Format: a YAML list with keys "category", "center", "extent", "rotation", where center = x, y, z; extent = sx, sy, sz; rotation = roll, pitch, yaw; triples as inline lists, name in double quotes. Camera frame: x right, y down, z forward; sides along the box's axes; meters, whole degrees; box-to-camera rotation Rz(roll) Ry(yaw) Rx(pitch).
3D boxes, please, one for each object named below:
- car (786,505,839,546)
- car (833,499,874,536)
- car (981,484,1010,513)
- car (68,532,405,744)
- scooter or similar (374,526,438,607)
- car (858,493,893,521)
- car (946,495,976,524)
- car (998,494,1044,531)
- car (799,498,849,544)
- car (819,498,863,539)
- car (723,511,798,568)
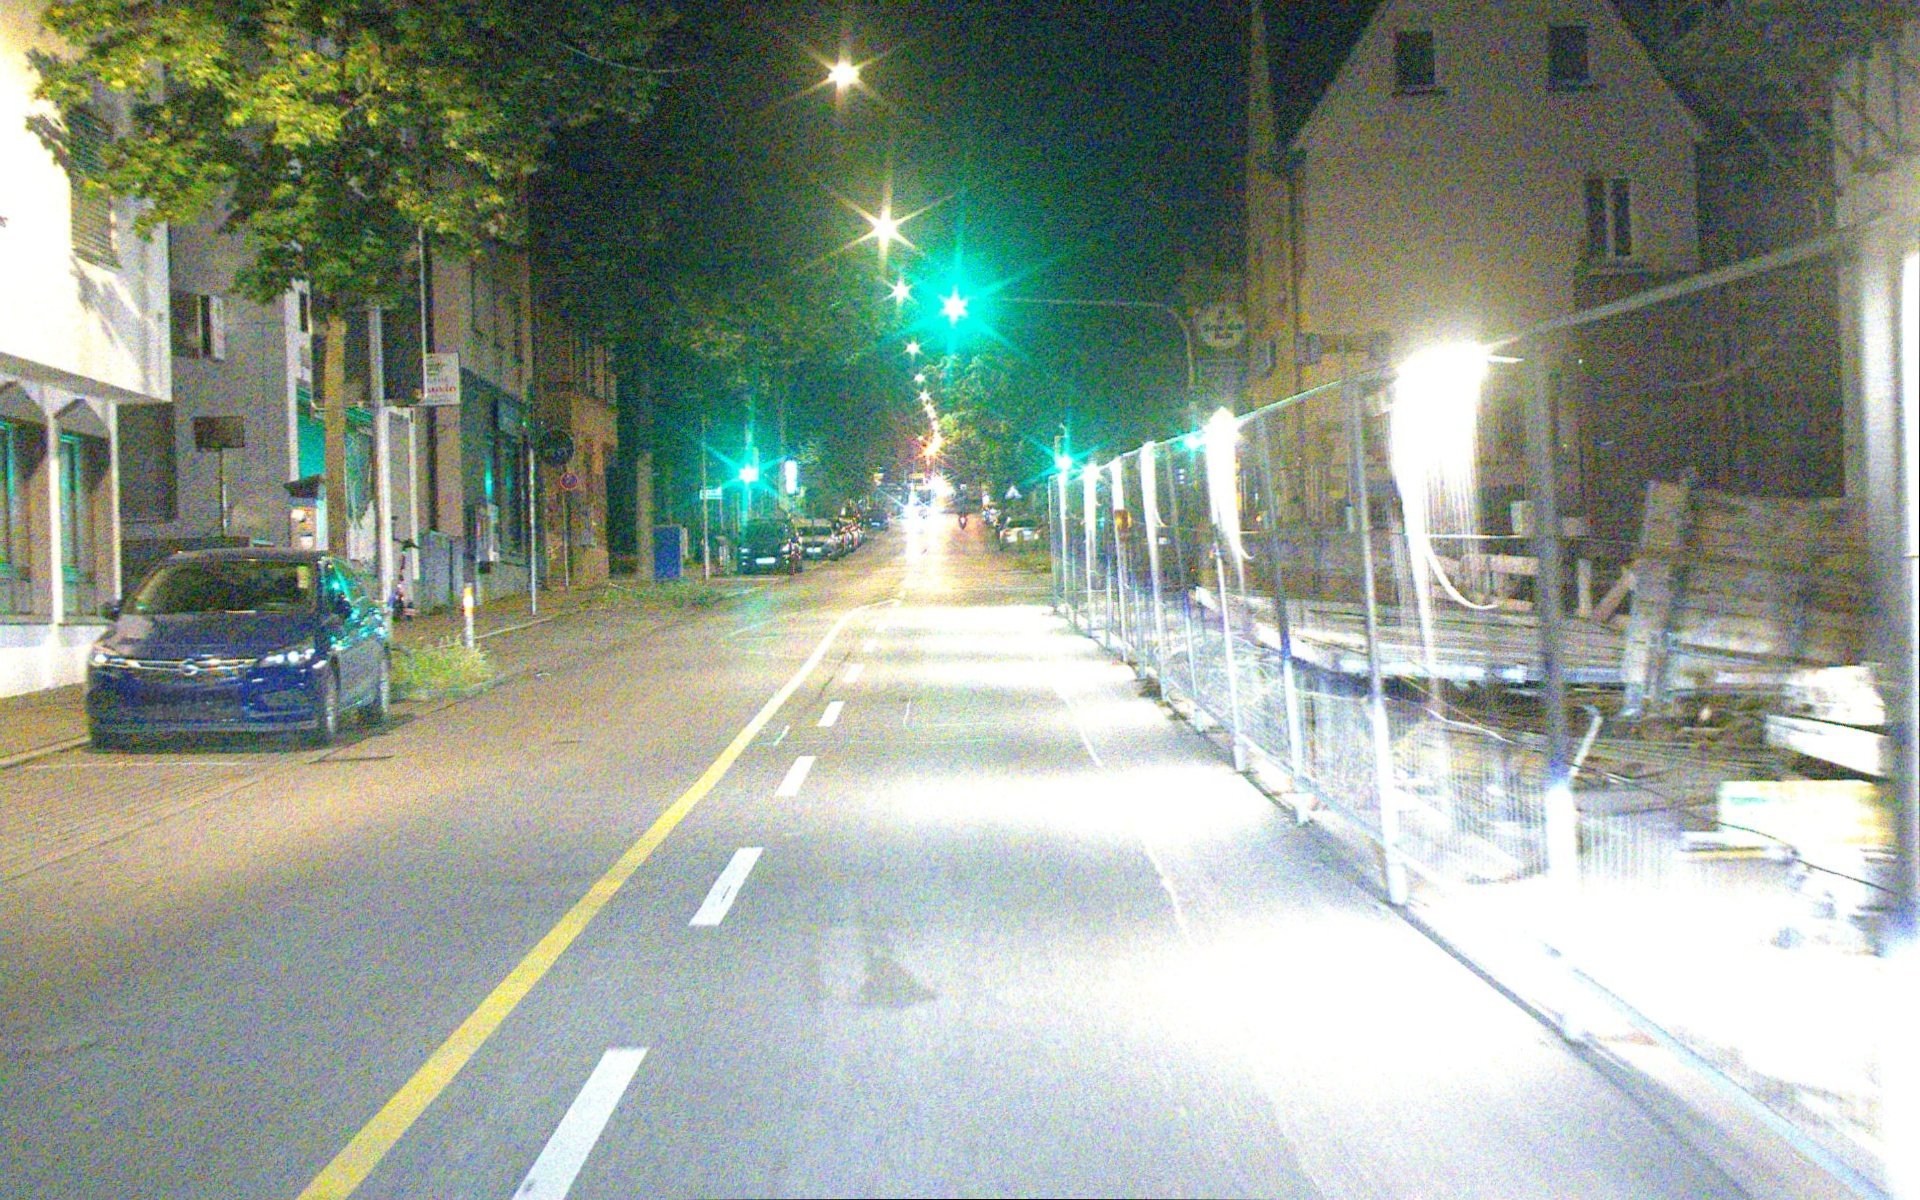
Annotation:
- category: "car"
  center: [-5.807, -2.954, 135.763]
  extent: [1.873, 1.539, 4.205]
  rotation: [-1, 1, 0]
- category: "car"
  center: [-5.519, -4.270, 178.077]
  extent: [1.873, 1.808, 4.205]
  rotation: [-1, 1, 1]
- category: "car"
  center: [2.436, -6.956, 236.270]
  extent: [1.873, 1.900, 4.205]
  rotation: [-1, 1, 0]
- category: "car"
  center: [-5.454, 0.227, 26.402]
  extent: [1.671, 1.438, 4.205]
  rotation: [-1, 1, 0]
- category: "scooter or similar"
  center: [-8.419, -0.490, 52.328]
  extent: [0.528, 1.161, 2.507]
  rotation: [-3, 0, 0]
- category: "car"
  center: [-5.567, -6.107, 226.282]
  extent: [2.077, 1.808, 4.205]
  rotation: [-1, 1, 1]
- category: "car"
  center: [0.056, -5.932, 225.759]
  extent: [1.873, 1.808, 4.205]
  rotation: [-1, 1, 1]
- category: "car"
  center: [2.636, -3.787, 148.794]
  extent: [1.873, 1.539, 4.205]
  rotation: [-1, 1, 0]
- category: "car"
  center: [-5.588, -3.260, 141.831]
  extent: [1.873, 1.808, 4.205]
  rotation: [-1, 2, 0]
- category: "car"
  center: [-5.535, -3.804, 160.126]
  extent: [1.873, 1.808, 4.205]
  rotation: [-2, 1, 0]
- category: "car"
  center: [-5.676, -1.736, 98.413]
  extent: [1.873, 1.539, 4.205]
  rotation: [-1, 1, 0]
